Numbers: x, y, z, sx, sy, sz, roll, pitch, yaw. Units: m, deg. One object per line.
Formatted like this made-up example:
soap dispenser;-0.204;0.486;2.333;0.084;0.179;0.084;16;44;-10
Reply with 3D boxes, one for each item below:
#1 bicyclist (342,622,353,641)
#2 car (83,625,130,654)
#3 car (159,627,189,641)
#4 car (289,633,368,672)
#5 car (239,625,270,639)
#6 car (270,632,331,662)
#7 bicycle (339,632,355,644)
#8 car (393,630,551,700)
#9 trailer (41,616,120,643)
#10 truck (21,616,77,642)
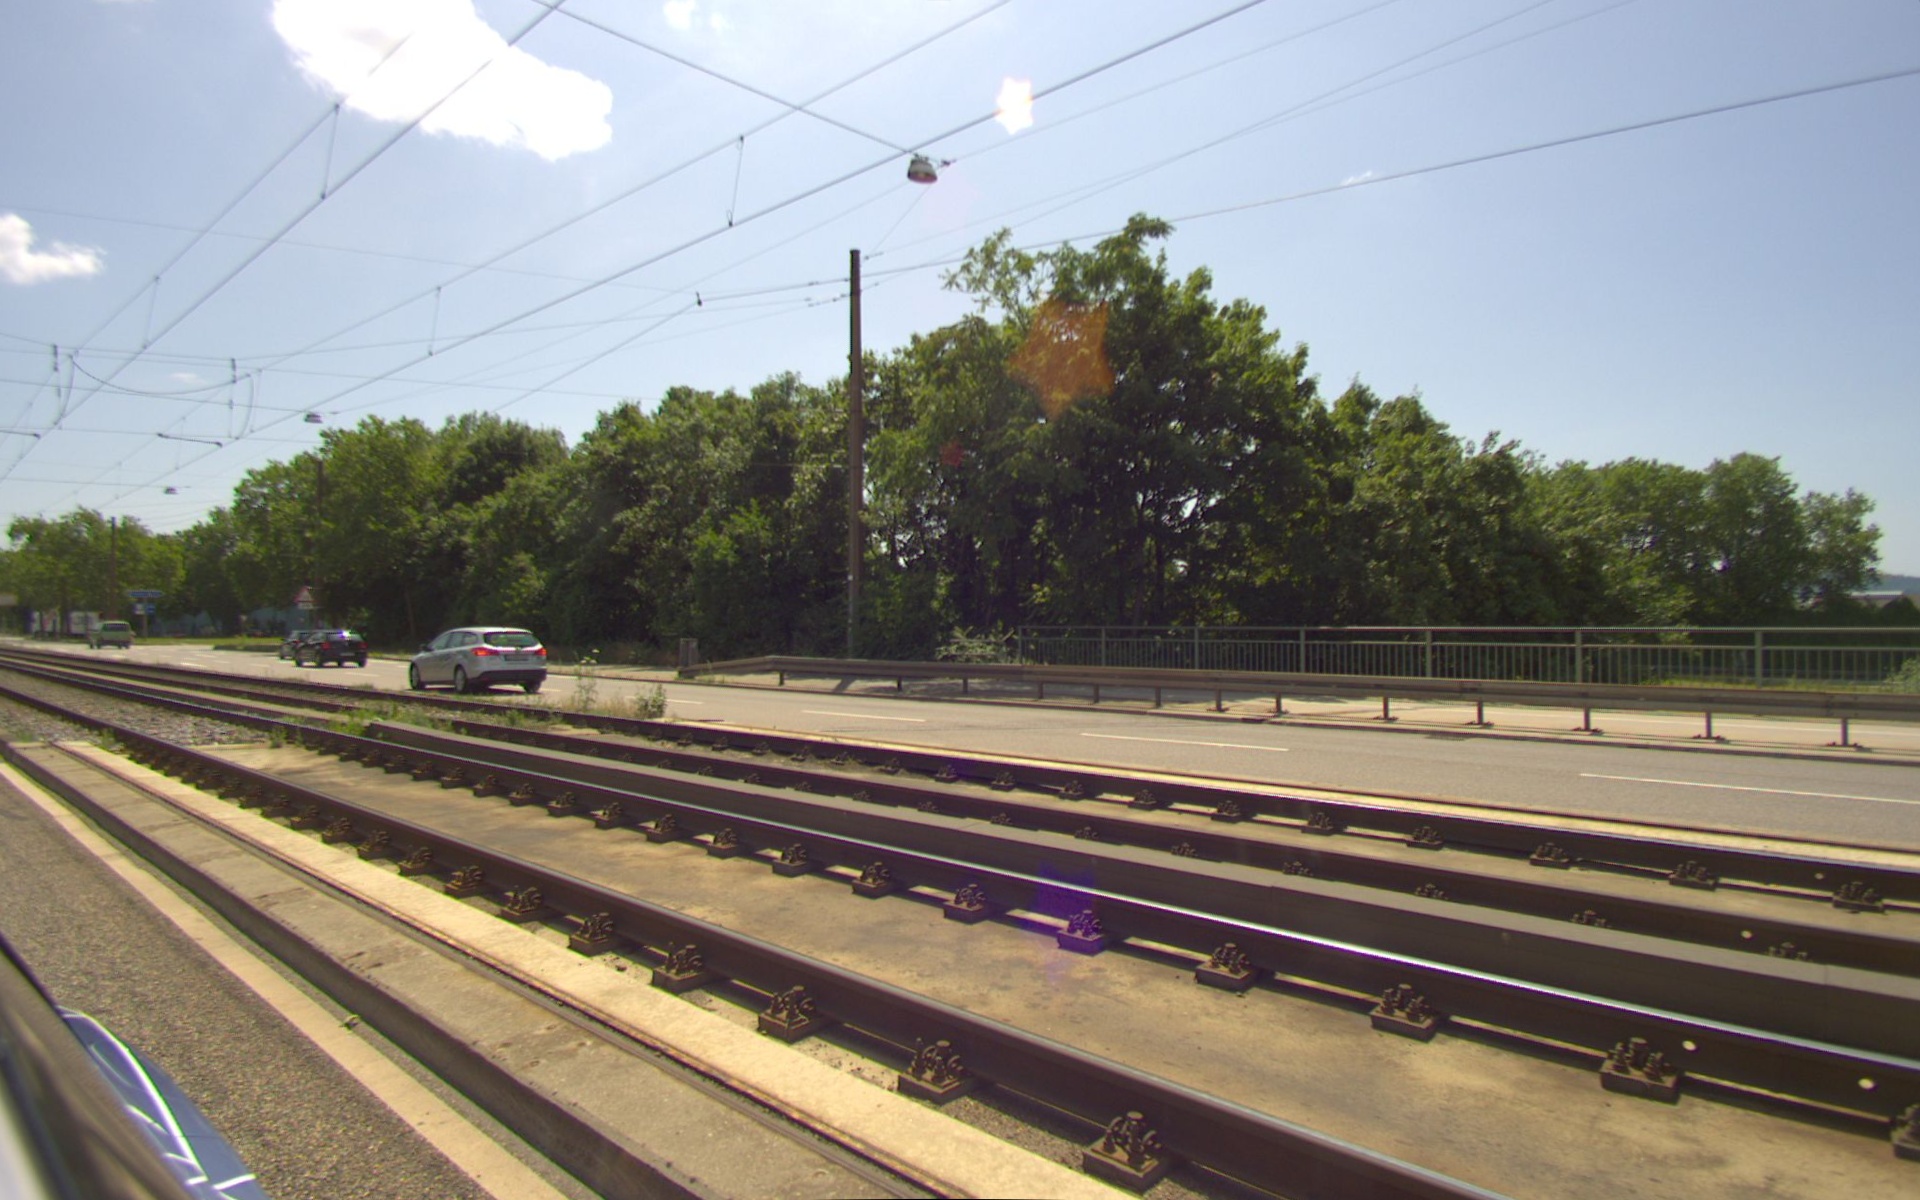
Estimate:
bicyclist;-45.325;2.325;74.852;0.562;1.378;0.632;-1;1;-43
car;-60.445;2.754;71.651;5.177;1.940;1.792;-1;-2;42
car;-105.849;4.578;136.270;3.369;1.806;1.557;-1;-2;16
car;-24.586;2.003;39.352;3.936;1.411;1.557;-1;-2;42
car;-92.441;4.229;132.546;3.369;1.806;1.557;-1;-2;16
car;-32.352;2.286;49.596;3.928;1.357;1.546;-1;-2;42
bicycle;-45.308;2.794;74.831;0.579;0.825;2.070;-2;1;-43
car;-11.451;1.441;23.590;4.623;1.431;1.693;-1;-2;42
trailer;-124.197;4.152;142.887;12.024;3.683;3.364;-1;-2;22
truck;-131.210;4.170;145.740;6.711;3.730;3.394;-1;-2;21
